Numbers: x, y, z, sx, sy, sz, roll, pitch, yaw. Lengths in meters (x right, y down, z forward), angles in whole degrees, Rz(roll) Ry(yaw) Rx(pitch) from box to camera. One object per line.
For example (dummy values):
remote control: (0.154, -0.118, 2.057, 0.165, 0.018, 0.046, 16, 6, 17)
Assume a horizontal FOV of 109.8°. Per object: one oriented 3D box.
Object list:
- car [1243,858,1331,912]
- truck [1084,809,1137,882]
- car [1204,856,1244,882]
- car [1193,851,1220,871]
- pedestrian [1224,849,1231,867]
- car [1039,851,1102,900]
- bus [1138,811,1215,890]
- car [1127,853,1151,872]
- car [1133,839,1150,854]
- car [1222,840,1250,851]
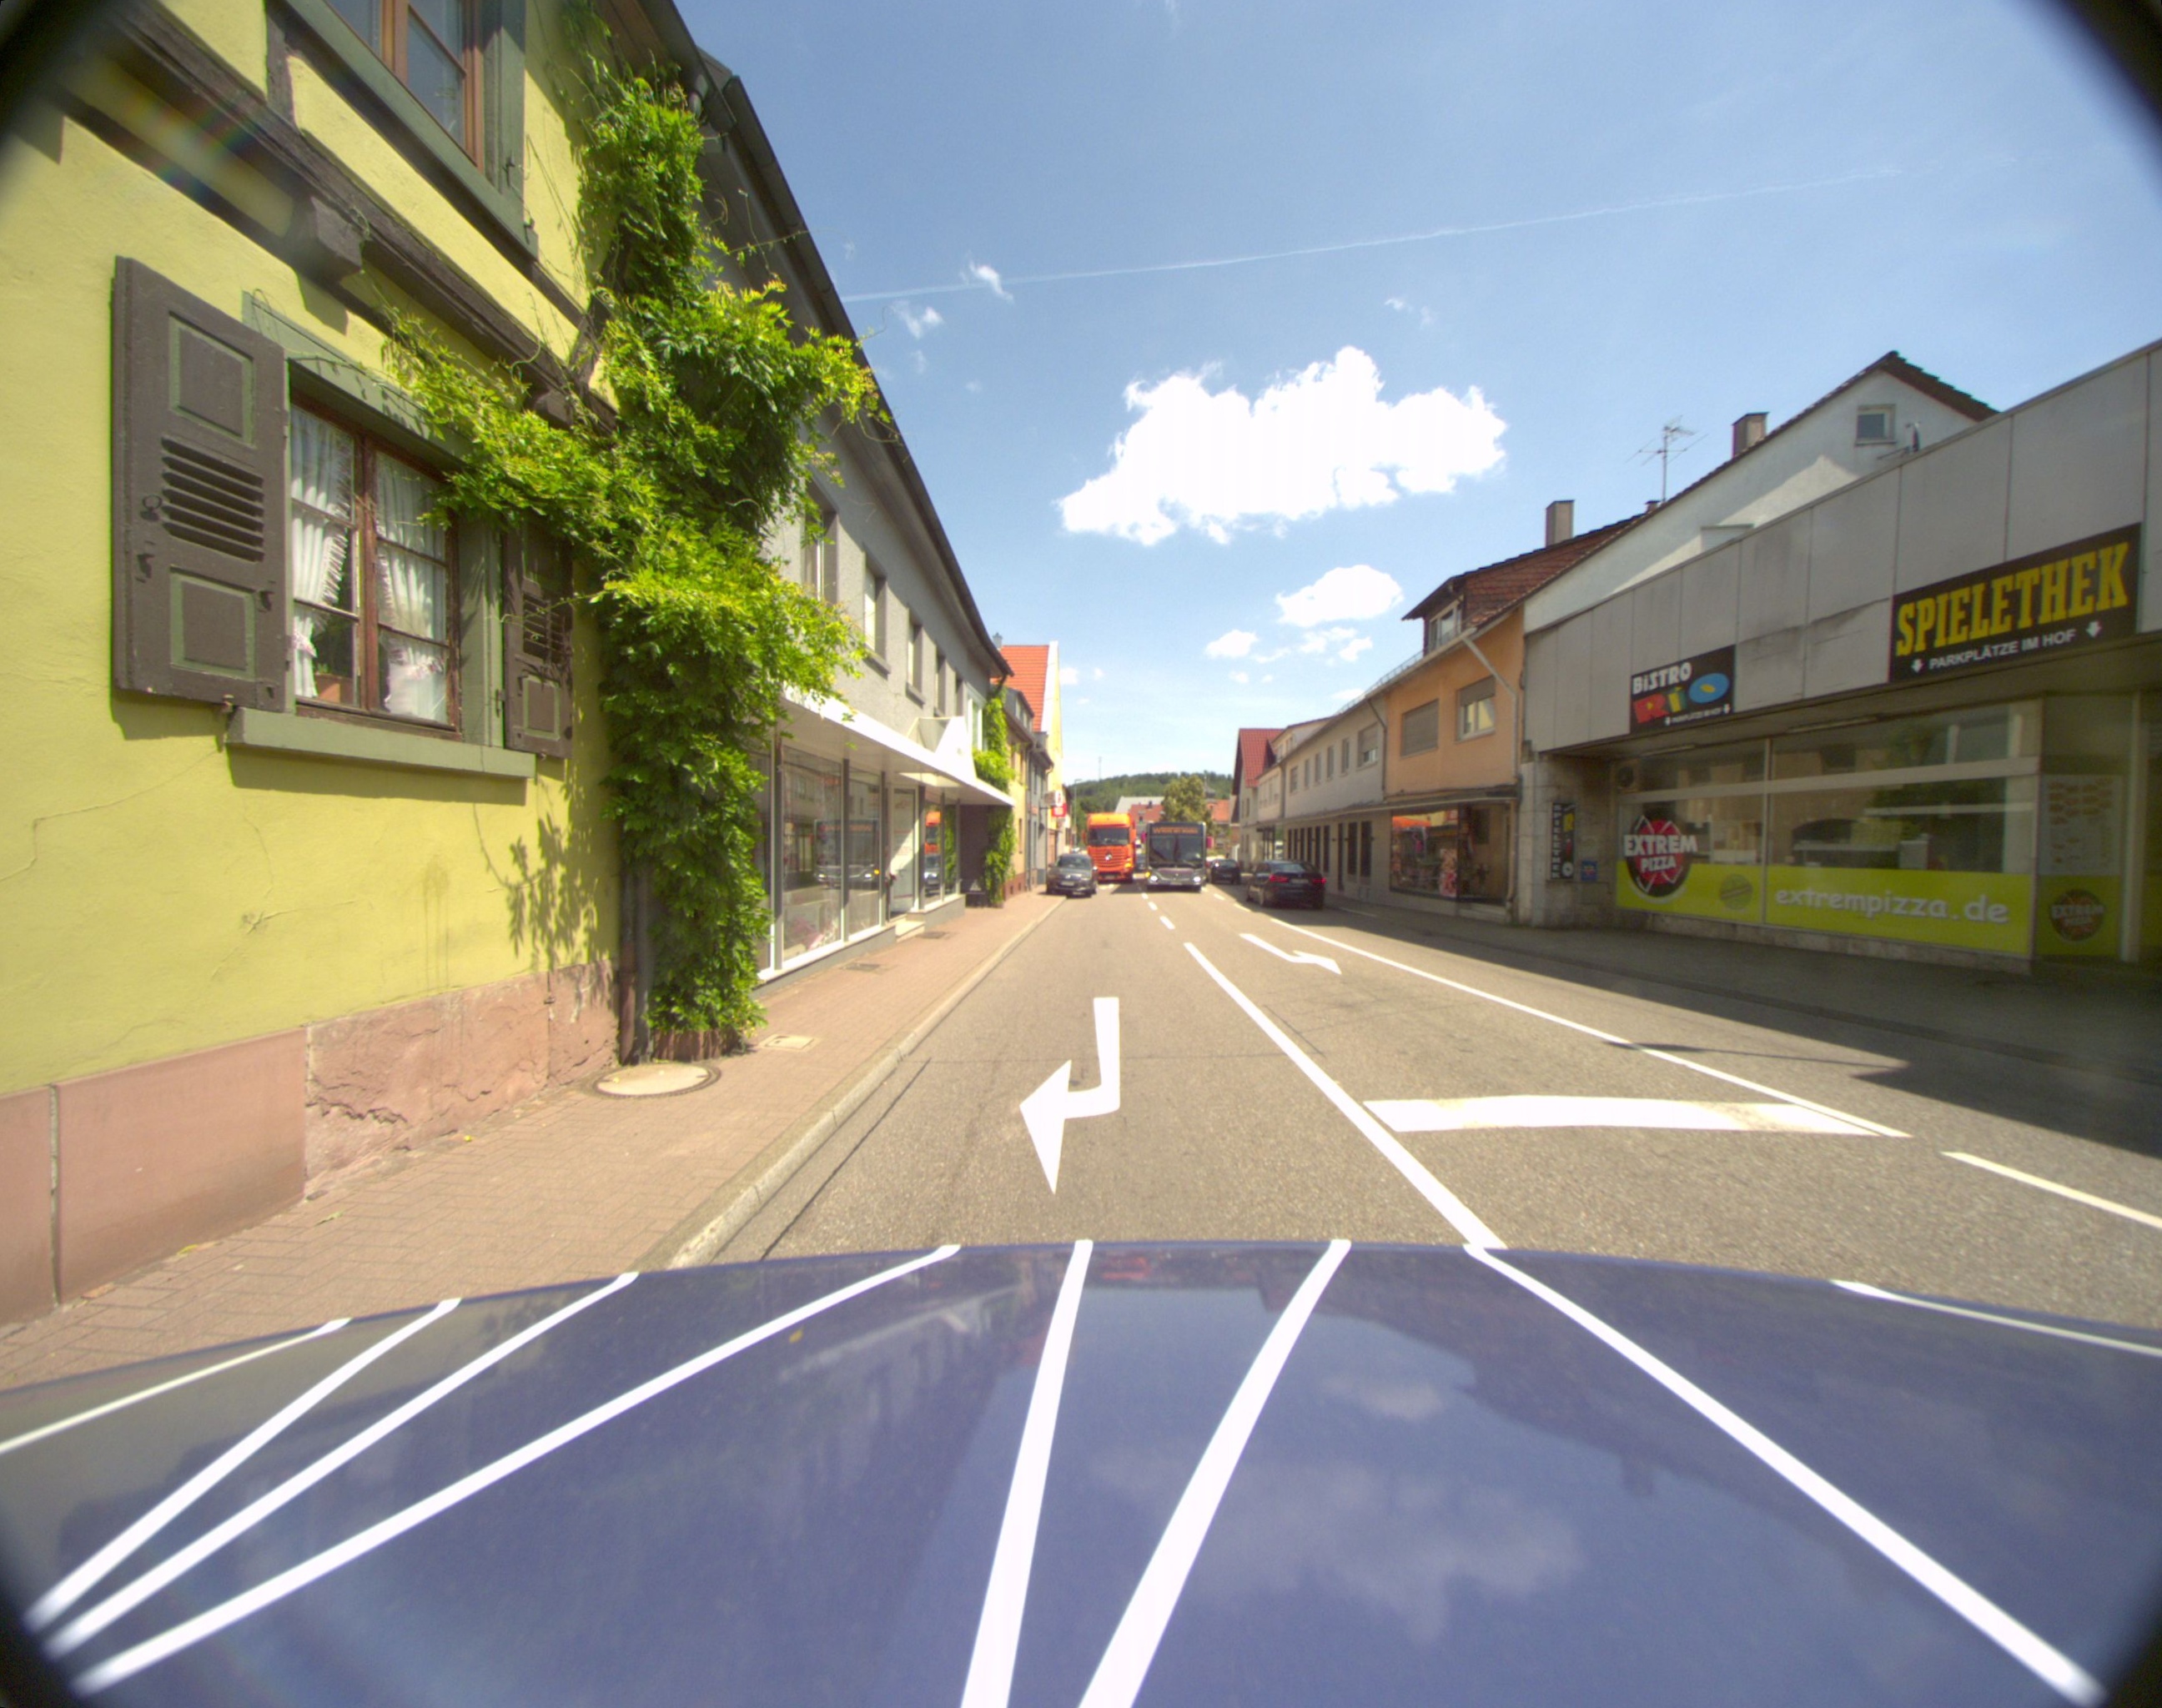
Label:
car: (6.707, 0.941, 25.282, 1.801, 1.478, 4.797, 3, 1, 3)
truck: (1.981, -0.435, 46.185, 2.614, 3.922, 9.996, -2, 0, 5)
car: (8.232, 0.859, 44.137, 1.721, 1.414, 3.821, 2, 0, 3)
car: (9.963, 0.554, 60.562, 1.721, 1.400, 4.286, 3, 0, 4)
pedestrian: (14.826, 0.380, 76.838, 0.471, 1.754, 0.478, 0, 2, -18)
car: (-0.360, 0.798, 30.606, 1.997, 1.699, 4.102, 3, 1, 6)
bus: (4.609, -0.137, 40.457, 2.858, 3.186, 19.037, -1, 0, 4)
car: (4.615, 0.636, 60.646, 1.721, 1.400, 4.286, 3, 0, 4)
car: (8.473, -0.982, 106.641, 1.998, 1.867, 4.323, -2, -1, 1)
car: (26.472, -1.439, 129.719, 4.443, 1.932, 1.975, -1, 0, -29)
